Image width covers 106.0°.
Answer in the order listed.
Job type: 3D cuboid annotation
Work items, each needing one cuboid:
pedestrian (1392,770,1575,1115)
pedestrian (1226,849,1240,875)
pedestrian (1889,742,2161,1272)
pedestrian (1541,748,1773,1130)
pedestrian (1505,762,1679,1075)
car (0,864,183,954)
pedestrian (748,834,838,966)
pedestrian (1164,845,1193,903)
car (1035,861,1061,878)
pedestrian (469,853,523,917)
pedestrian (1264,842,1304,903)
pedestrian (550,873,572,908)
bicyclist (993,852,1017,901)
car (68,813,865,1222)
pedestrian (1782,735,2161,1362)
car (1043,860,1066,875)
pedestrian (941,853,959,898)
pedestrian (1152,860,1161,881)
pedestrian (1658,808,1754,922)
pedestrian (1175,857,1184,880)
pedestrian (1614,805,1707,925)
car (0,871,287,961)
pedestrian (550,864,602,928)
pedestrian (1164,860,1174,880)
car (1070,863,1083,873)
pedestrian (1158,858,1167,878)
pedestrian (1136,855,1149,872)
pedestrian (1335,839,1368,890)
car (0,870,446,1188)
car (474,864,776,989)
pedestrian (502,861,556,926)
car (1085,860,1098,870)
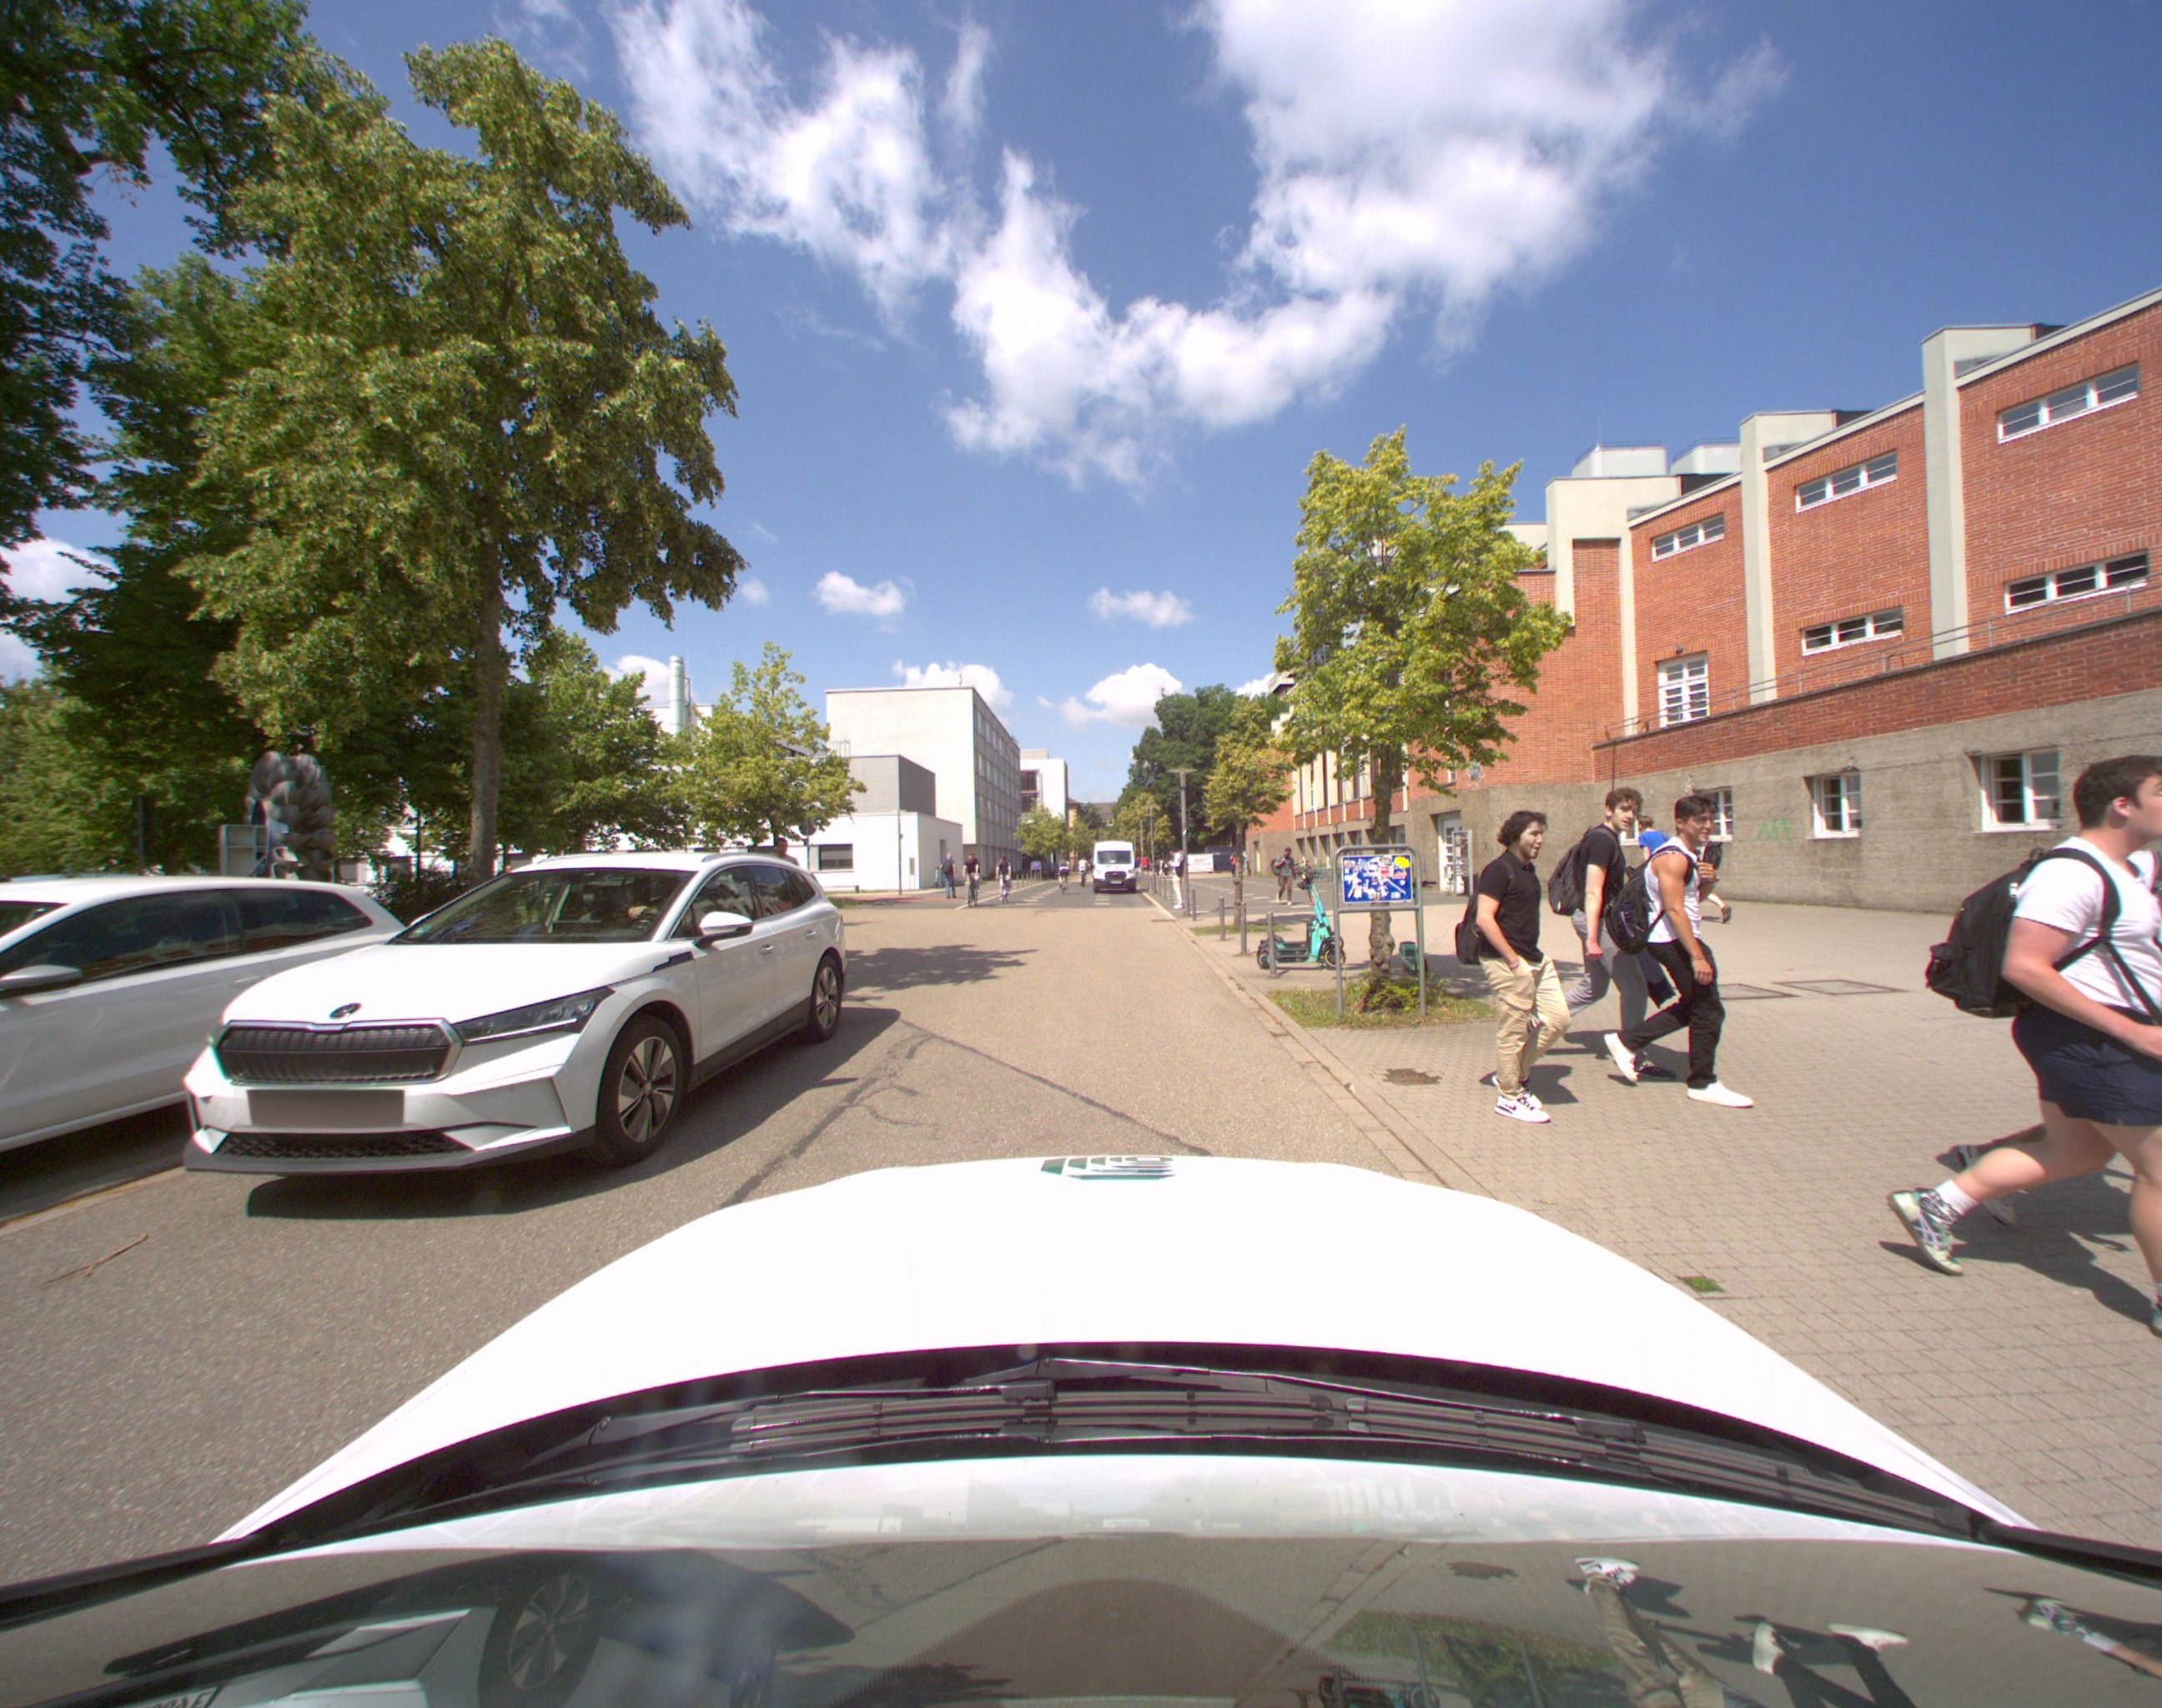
[{"bbox_3d":[2.279,0.465,4.719,0.794,1.772,0.859,-3,-1,22],"label":"pedestrian"},{"bbox_3d":[11.336,0.575,60.712,0.845,1.860,1.120,-2,-1,13],"label":"pedestrian"},{"bbox_3d":[3.700,0.499,2.981,0.897,1.739,0.683,-4,-1,39],"label":"pedestrian"},{"bbox_3d":[3.322,0.447,4.745,0.620,1.980,0.821,-1,-2,-30],"label":"pedestrian"},{"bbox_3d":[3.475,0.423,5.618,0.819,1.980,0.695,-3,-1,22],"label":"pedestrian"},{"bbox_3d":[-22.998,1.219,17.658,1.921,1.768,4.442,-4,0,1],"label":"car"},{"bbox_3d":[-4.368,0.681,12.450,1.013,1.903,1.176,0,-1,-5],"label":"pedestrian"},{"bbox_3d":[2.993,0.621,25.027,0.700,1.695,0.962,-4,-1,2],"label":"pedestrian"},{"bbox_3d":[-3.078,1.423,76.032,1.786,1.530,4.006,-2,-1,6],"label":"car"},{"bbox_3d":[-16.561,0.871,23.068,0.843,1.750,0.859,-2,1,25],"label":"pedestrian"},{"bbox_3d":[5.901,0.532,23.722,0.850,1.733,1.160,-2,-1,0],"label":"pedestrian"},{"bbox_3d":[-26.041,1.831,40.772,0.690,1.749,0.637,-1,-1,2],"label":"pedestrian"},{"bbox_3d":[-2.711,0.790,29.132,0.665,1.682,0.993,-2,-1,1],"label":"bicyclist"},{"bbox_3d":[-3.109,0.723,5.601,1.911,1.619,4.520,1,-1,1],"label":"car"},{"bbox_3d":[3.025,0.549,2.691,0.971,1.739,0.705,-4,-2,40],"label":"pedestrian"},{"bbox_3d":[-2.678,1.367,83.443,1.786,1.530,4.006,-2,-1,6],"label":"car"},{"bbox_3d":[-5.387,0.884,33.443,0.667,1.785,0.981,-1,-2,-11],"label":"pedestrian"},{"bbox_3d":[7.019,1.530,75.796,0.786,1.860,1.244,-2,-1,3],"label":"pedestrian"},{"bbox_3d":[10.510,0.180,13.725,0.701,1.803,0.991,-3,0,-8],"label":"pedestrian"},{"bbox_3d":[8.097,1.208,66.961,0.574,1.860,0.569,-2,-1,-1],"label":"pedestrian"},{"bbox_3d":[9.629,0.180,13.563,0.701,1.892,0.991,-3,0,-8],"label":"pedestrian"},{"bbox_3d":[-20.371,1.250,17.589,1.921,1.516,4.442,-4,0,1],"label":"car"},{"bbox_3d":[-14.089,1.153,22.727,0.843,1.708,0.860,-2,1,27],"label":"pedestrian"},{"bbox_3d":[8.180,1.477,75.521,0.787,1.860,1.026,-2,-1,3],"label":"pedestrian"},{"bbox_3d":[-0.746,2.420,142.424,1.786,1.530,4.006,-2,-1,6],"label":"car"},{"bbox_3d":[7.928,1.351,78.987,0.787,1.860,1.026,-2,-1,3],"label":"pedestrian"},{"bbox_3d":[7.938,1.231,105.031,1.495,1.996,1.646,-4,0,0],"label":"pedestrian"},{"bbox_3d":[10.162,0.376,30.599,0.788,1.860,1.115,-2,-1,-2],"label":"pedestrian"},{"bbox_3d":[-5.710,0.815,4.287,1.656,1.412,3.808,0,0,2],"label":"car"},{"bbox_3d":[-5.743,0.825,10.894,1.638,1.300,3.930,-2,-1,3],"label":"car"},{"bbox_3d":[-15.164,1.068,22.384,0.843,1.708,0.859,-2,1,25],"label":"pedestrian"},{"bbox_3d":[1.849,1.915,141.819,1.786,1.530,4.006,-2,-1,6],"label":"car"}]
